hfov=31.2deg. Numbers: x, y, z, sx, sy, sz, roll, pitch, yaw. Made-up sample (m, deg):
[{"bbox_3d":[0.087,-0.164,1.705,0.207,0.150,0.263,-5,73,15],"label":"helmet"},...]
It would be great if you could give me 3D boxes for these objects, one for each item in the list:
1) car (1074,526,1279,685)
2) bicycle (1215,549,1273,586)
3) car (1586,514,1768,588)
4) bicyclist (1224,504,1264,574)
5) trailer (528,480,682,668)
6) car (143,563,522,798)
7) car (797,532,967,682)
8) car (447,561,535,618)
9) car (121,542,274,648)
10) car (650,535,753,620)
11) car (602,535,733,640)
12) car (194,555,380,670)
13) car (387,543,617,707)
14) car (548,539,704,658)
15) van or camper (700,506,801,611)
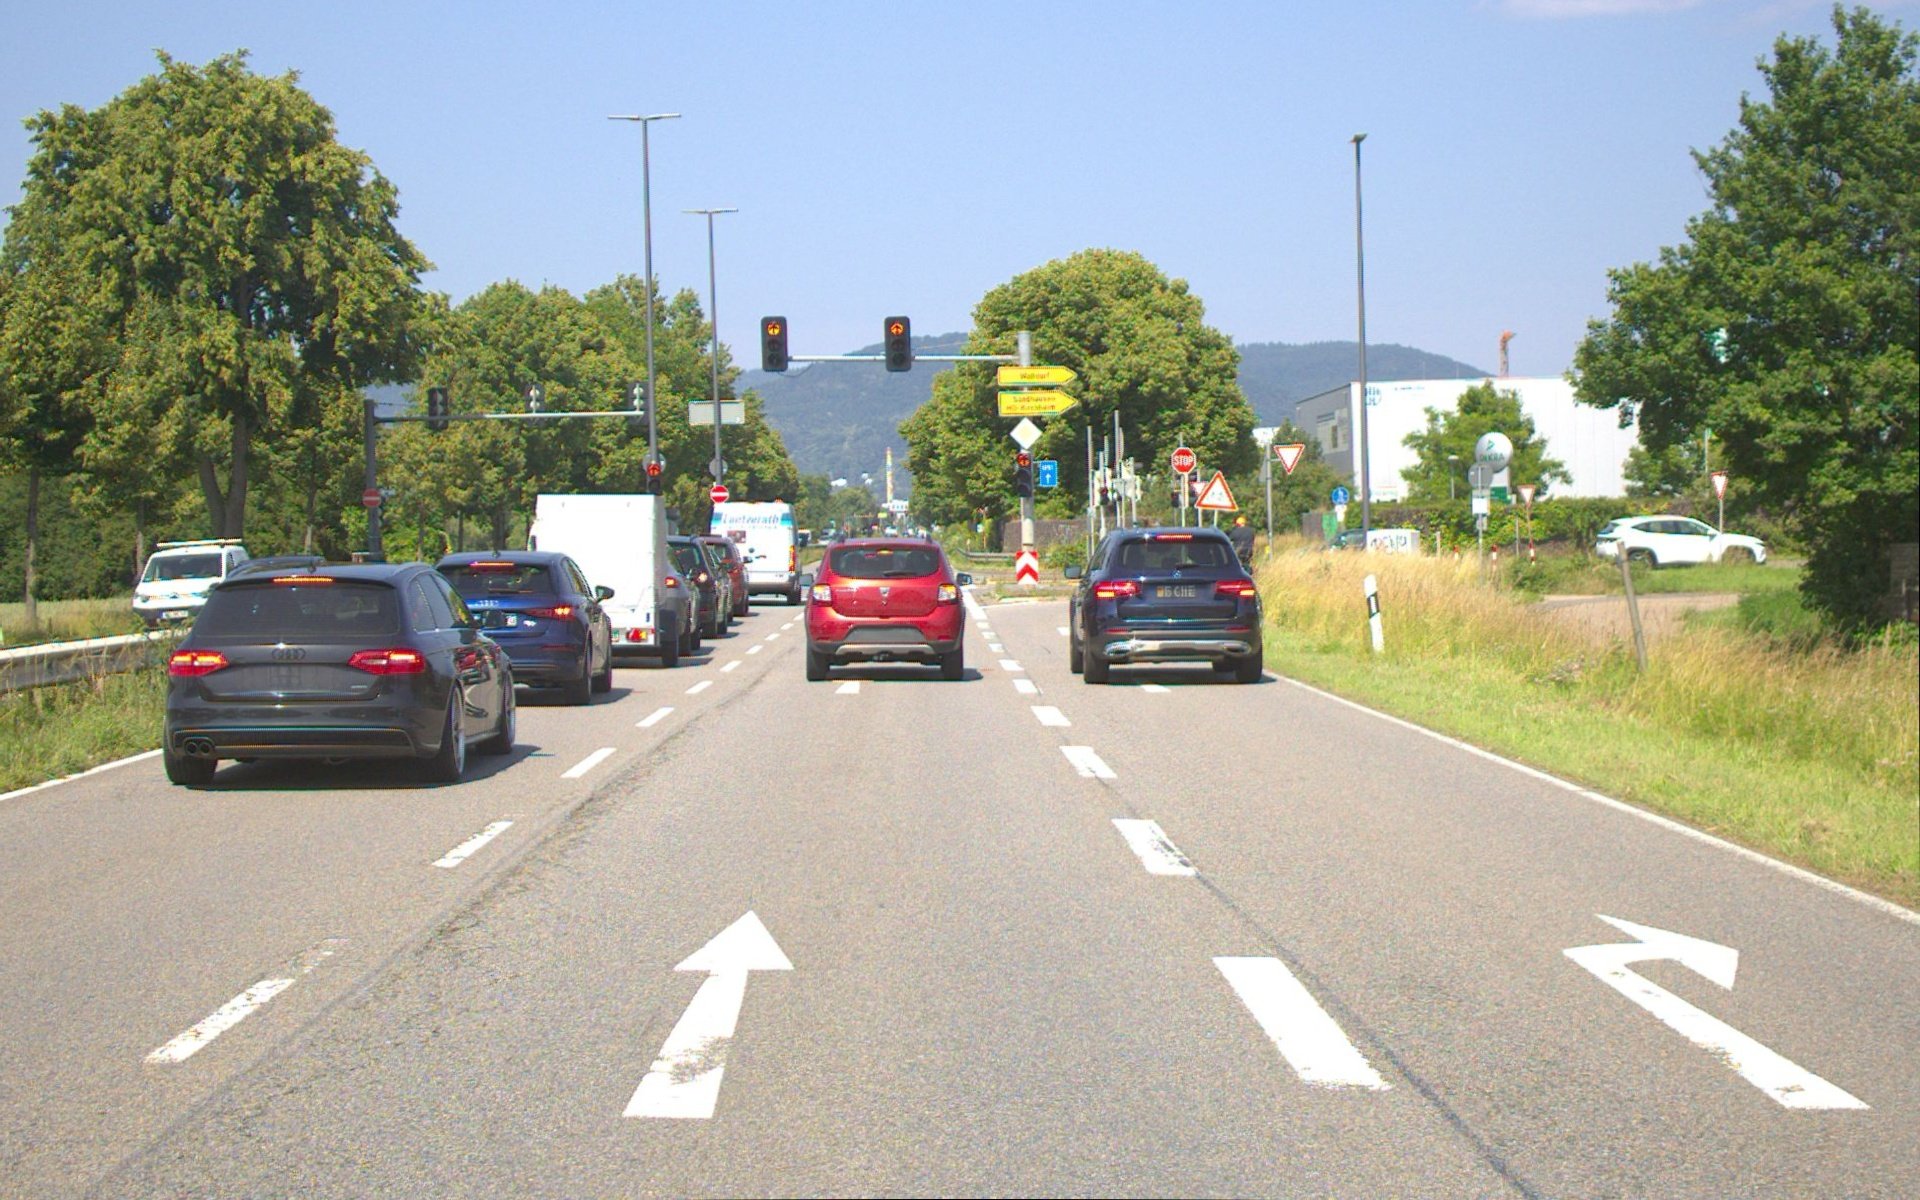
[{"bbox_3d":[2.270,0.014,37.089,1.993,1.611,4.339,0,1,1],"label":"car"},{"bbox_3d":[7.241,-0.832,87.832,0.761,0.911,2.780,-2,1,-10],"label":"bicycle"},{"bbox_3d":[19.324,-1.334,92.799,4.490,1.861,1.885,-1,1,2],"label":"car"},{"bbox_3d":[7.255,-1.563,87.727,0.802,1.765,0.809,-1,1,-10],"label":"bicyclist"},{"bbox_3d":[-4.322,-0.336,42.332,1.500,2.166,4.174,-1,1,-1],"label":"trailer"},{"bbox_3d":[-4.042,0.456,22.809,1.740,1.376,4.455,0,1,-1],"label":"car"},{"bbox_3d":[-0.818,0.037,38.253,1.749,1.570,3.676,-1,1,1],"label":"car"},{"bbox_3d":[-12.921,-0.309,94.880,1.879,1.449,4.505,-1,1,-1],"label":"car"},{"bbox_3d":[-14.865,-0.141,67.285,1.993,1.945,4.831,-1,1,-1],"label":"car"},{"bbox_3d":[-5.001,-0.466,66.963,1.724,1.594,3.955,0,1,0],"label":"car"},{"bbox_3d":[-4.515,-0.228,53.496,1.723,1.570,3.893,0,1,0],"label":"car"},{"bbox_3d":[-10.104,0.147,51.942,1.993,1.597,4.481,-1,1,-1],"label":"car"},{"bbox_3d":[-4.302,0.192,32.806,1.717,1.460,4.030,0,1,-1],"label":"car"},{"bbox_3d":[-4.467,-0.057,46.540,1.745,1.498,4.363,-1,1,-1],"label":"car"},{"bbox_3d":[-4.742,-0.954,78.108,2.179,2.295,4.827,-1,1,-3],"label":"van or camper"}]
